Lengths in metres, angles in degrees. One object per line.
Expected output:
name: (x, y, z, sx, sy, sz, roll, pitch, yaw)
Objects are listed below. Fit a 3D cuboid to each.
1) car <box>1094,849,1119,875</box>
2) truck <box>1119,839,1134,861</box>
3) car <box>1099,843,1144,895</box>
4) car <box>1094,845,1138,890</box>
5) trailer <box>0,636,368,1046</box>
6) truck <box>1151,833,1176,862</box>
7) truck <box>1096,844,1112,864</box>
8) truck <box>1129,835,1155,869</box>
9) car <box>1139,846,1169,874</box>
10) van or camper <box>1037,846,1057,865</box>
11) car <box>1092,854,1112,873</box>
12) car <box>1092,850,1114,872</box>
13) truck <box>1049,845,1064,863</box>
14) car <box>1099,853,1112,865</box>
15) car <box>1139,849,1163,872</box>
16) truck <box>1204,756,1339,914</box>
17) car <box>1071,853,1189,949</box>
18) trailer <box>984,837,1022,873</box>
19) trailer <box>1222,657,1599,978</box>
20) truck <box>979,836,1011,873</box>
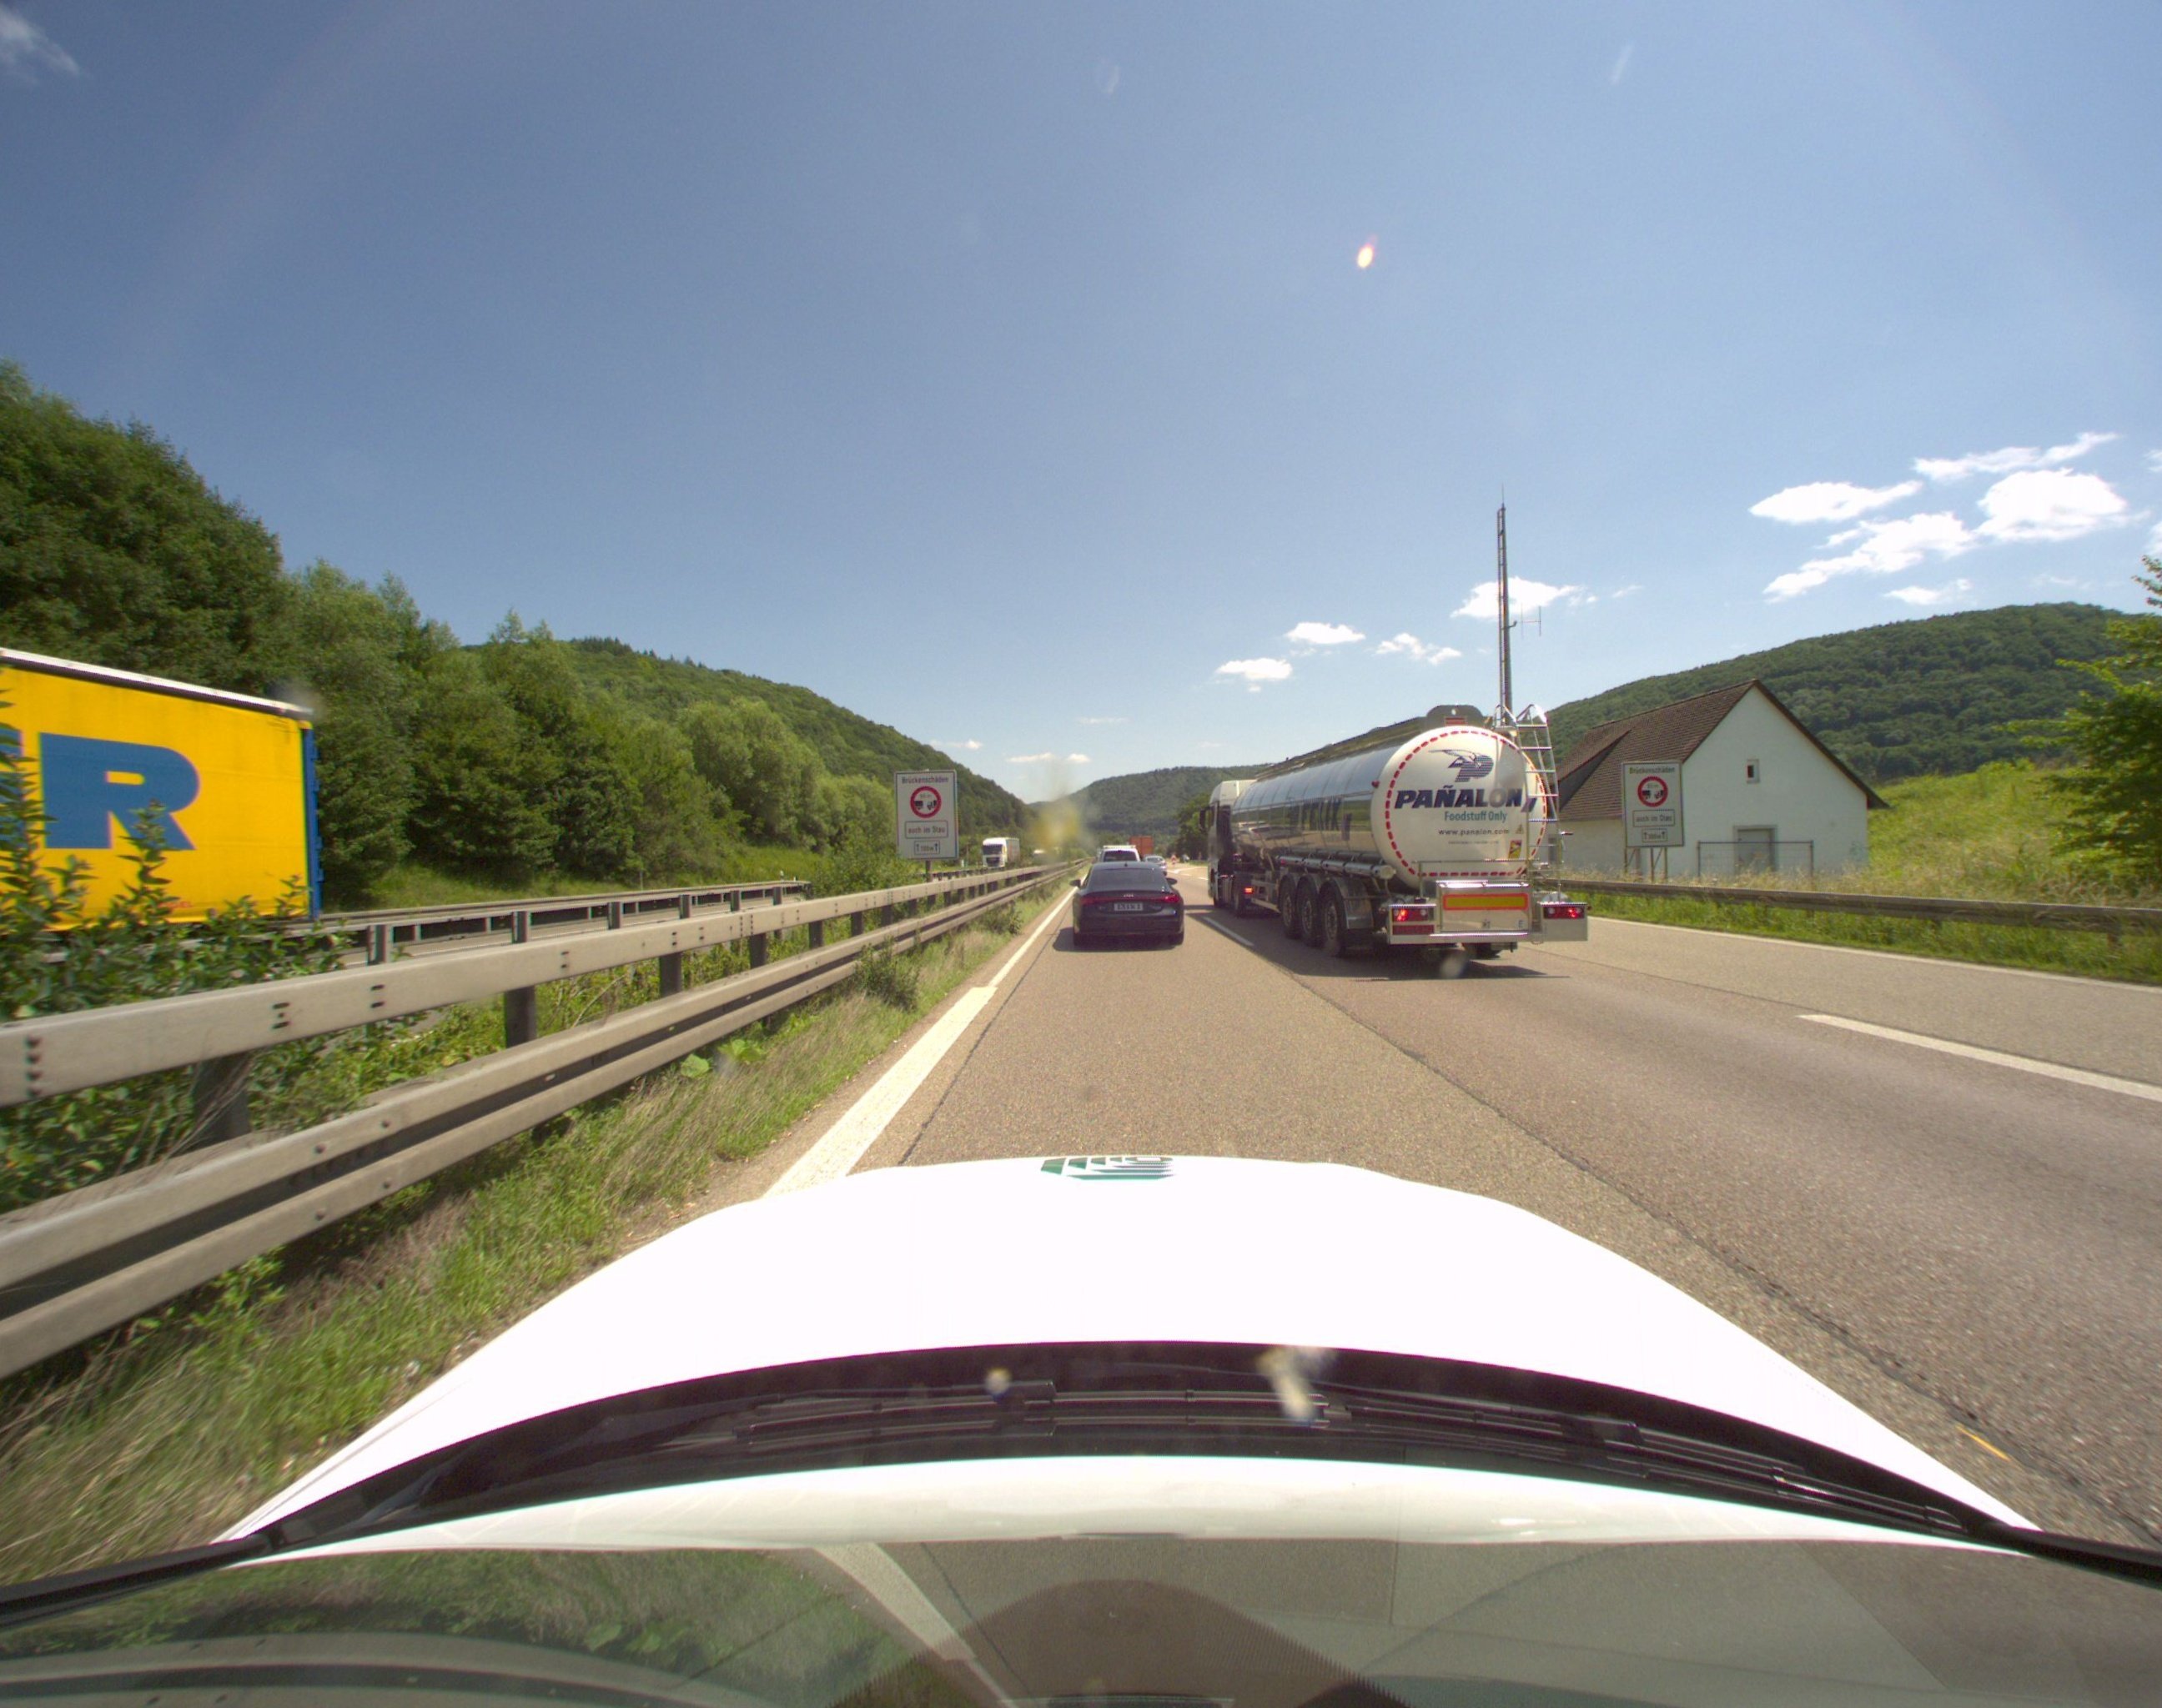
car: (2.107, 0.623, 67.400, 1.986, 2.013, 4.001, -2, 0, 1)
truck: (7.382, -0.571, 132.916, 1.986, 3.447, 11.816, -1, 0, 2)
car: (1.506, 0.536, 30.900, 1.570, 1.833, 4.001, -1, 0, 1)
car: (1.678, 0.622, 39.533, 1.986, 2.013, 4.001, -1, 0, 1)
trailer: (-11.951, -0.121, 5.622, 2.571, 4.005, 12.607, -1, 0, 2)
truck: (12.264, -0.857, 122.293, 2.806, 4.003, 14.964, -1, 0, 2)
truck: (4.283, 0.087, 149.441, 2.618, 3.440, 11.426, -2, 0, 2)
truck: (7.603, -0.205, 102.908, 2.806, 4.003, 14.964, -1, 0, 2)
car: (5.460, 0.443, 61.552, 1.986, 2.013, 4.001, -2, 0, 2)
van or camper: (-6.417, 0.266, 154.313, 2.576, 3.335, 7.662, -2, 0, 7)
car: (1.913, 0.847, 74.426, 1.705, 1.618, 4.003, -2, 0, 3)
car: (2.125, 0.651, 78.046, 1.986, 2.013, 4.001, -2, 0, 1)
truck: (-5.837, -0.005, 194.550, 2.859, 4.006, 10.173, -1, 0, 1)
car: (3.434, 0.657, 114.326, 1.705, 1.618, 4.003, -2, 0, 3)
car: (6.420, 0.554, 75.075, 1.985, 2.002, 4.003, -2, 0, 3)
truck: (4.967, -0.443, 22.167, 2.502, 3.758, 5.246, -1, 0, 1)
car: (0.759, 0.748, 14.859, 1.844, 1.488, 4.081, -1, 0, -1)
trailer: (-9.435, 0.098, 99.872, 2.772, 3.999, 14.165, -2, 0, 2)
trailer: (4.898, -0.419, 15.507, 2.529, 3.735, 11.893, -1, 0, 1)
truck: (-9.673, 0.086, 92.218, 2.718, 4.001, 5.372, -2, 0, 2)
